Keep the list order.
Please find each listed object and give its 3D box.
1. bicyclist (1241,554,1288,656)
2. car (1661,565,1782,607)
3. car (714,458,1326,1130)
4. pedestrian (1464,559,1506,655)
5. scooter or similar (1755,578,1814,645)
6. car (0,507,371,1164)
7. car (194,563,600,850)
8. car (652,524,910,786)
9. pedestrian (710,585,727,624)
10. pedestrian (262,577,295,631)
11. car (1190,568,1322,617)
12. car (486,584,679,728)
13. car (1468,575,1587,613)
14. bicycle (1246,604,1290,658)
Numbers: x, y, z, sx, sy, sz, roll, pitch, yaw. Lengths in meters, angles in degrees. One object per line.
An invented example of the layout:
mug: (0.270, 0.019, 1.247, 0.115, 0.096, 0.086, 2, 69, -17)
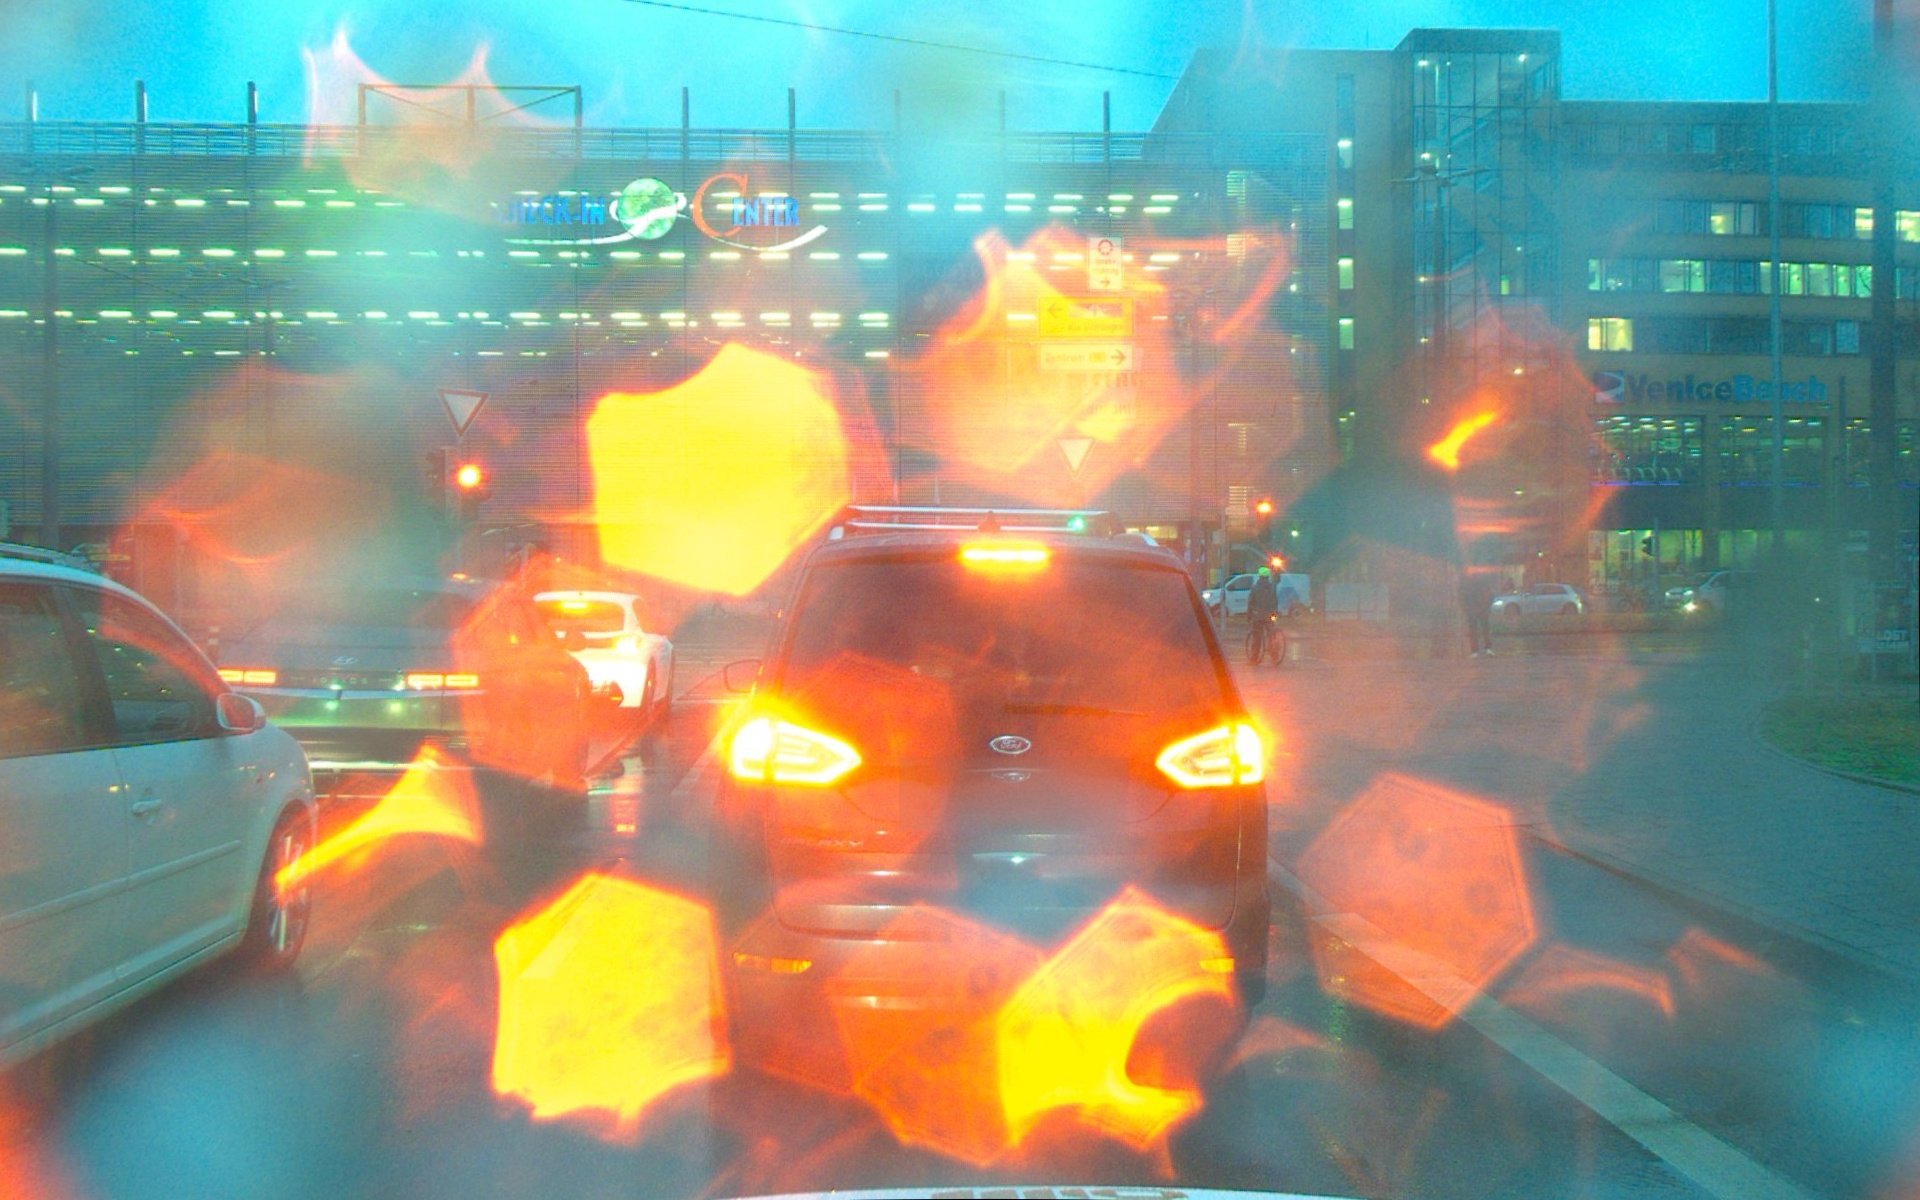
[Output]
bicyclist: (5.851, 0.094, 31.832, 0.774, 1.923, 0.990, 0, 0, 5)
car: (32.138, -0.577, 69.839, 4.559, 1.706, 1.780, -1, 0, -14)
car: (0.128, 0.525, 6.543, 1.640, 1.810, 3.999, 1, 0, -1)
pedestrian: (10.611, 0.138, 33.448, 0.757, 1.910, 0.635, 0, 0, 22)
scooter or similar: (15.436, 0.201, 30.964, 1.290, 1.227, 0.331, 0, 0, -30)
car: (-3.258, 0.581, 5.034, 1.638, 1.627, 4.220, 0, 0, -4)
car: (-3.647, 0.579, 11.538, 1.786, 1.597, 4.355, 0, 0, -7)
car: (-1.478, 0.361, 13.970, 1.808, 1.837, 4.481, 0, 1, -6)
pedestrian: (-11.329, 0.192, 77.602, 0.772, 1.818, 0.732, 0, 0, -6)
pedestrian: (-31.961, 0.201, 77.609, 1.087, 2.482, 0.966, 1, -1, -2)
car: (11.795, -0.309, 66.101, 4.852, 1.904, 1.902, -1, 0, -7)
car: (-4.250, 0.567, 19.156, 1.724, 1.489, 3.912, 0, 0, -6)
car: (23.348, -0.253, 68.079, 4.245, 1.512, 1.863, -1, 0, -7)
bicycle: (5.925, 0.583, 31.893, 0.641, 0.990, 1.867, 0, 0, 5)
